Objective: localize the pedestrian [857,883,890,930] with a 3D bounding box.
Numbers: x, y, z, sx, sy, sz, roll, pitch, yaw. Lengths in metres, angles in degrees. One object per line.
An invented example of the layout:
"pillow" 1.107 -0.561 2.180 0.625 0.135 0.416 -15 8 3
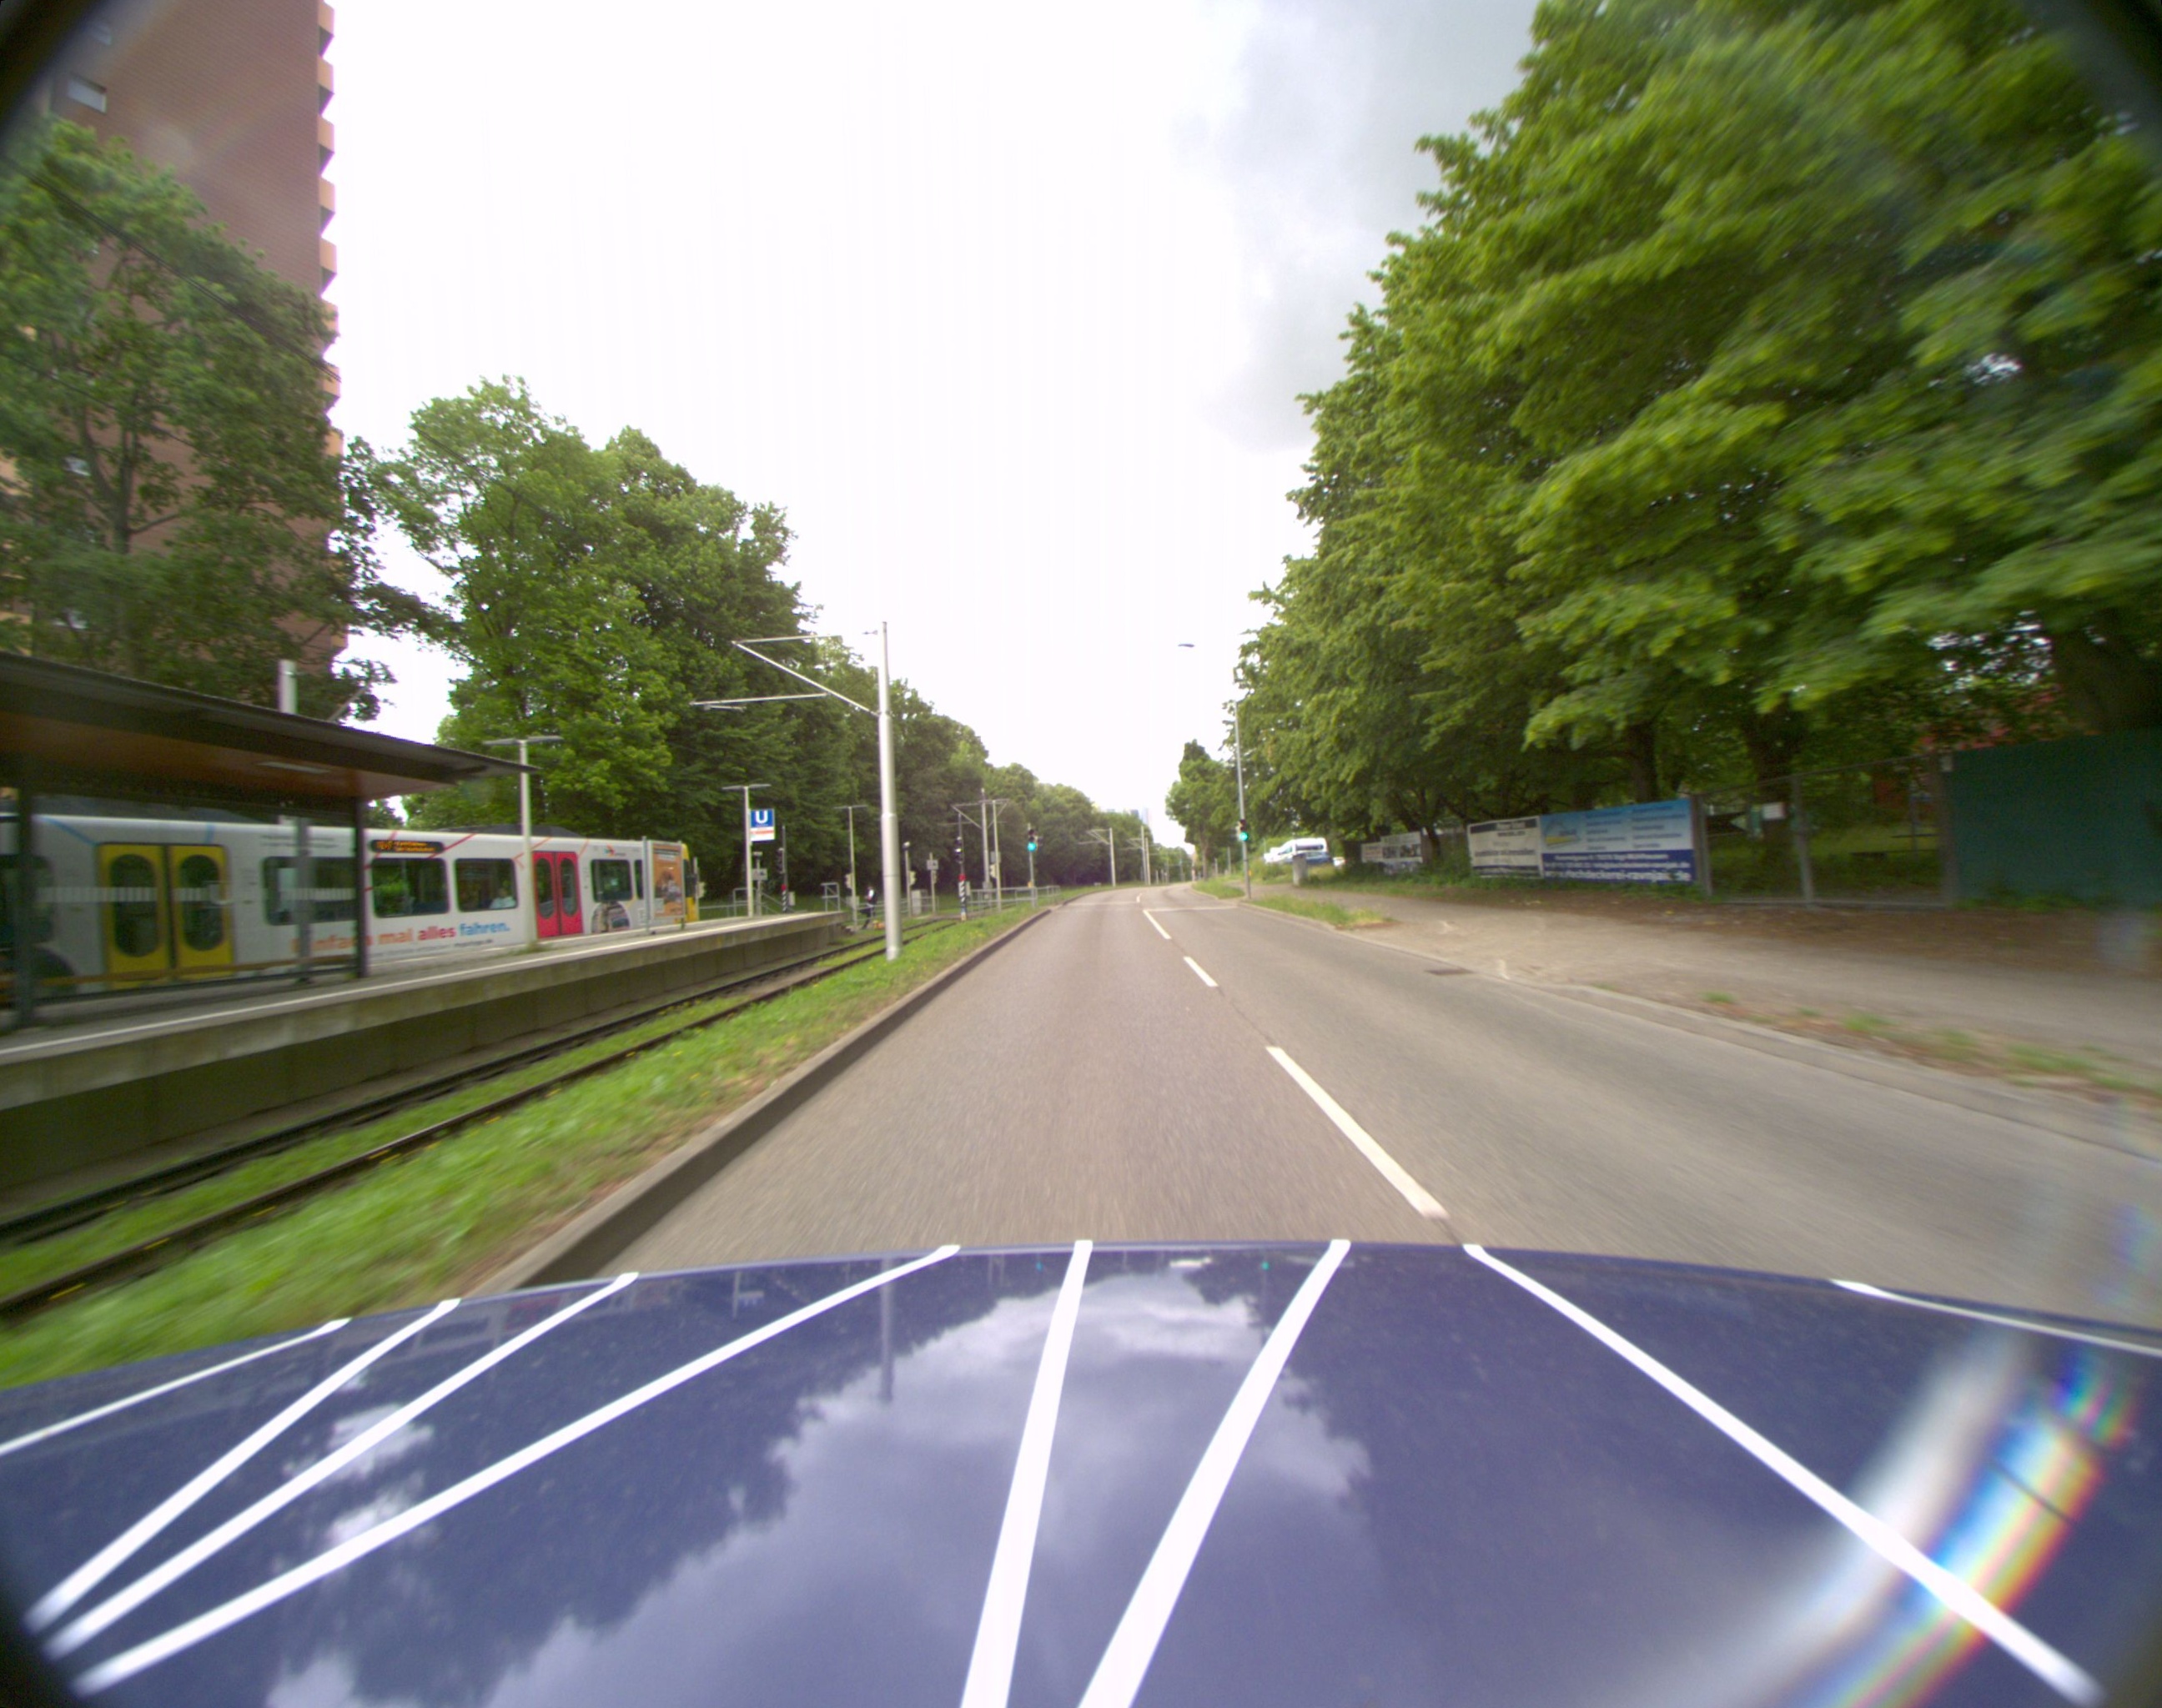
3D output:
"pedestrian" -8.130 2.052 29.804 0.986 1.747 0.729 -4 -1 -5

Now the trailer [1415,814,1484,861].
"trailer" 27.048 -1.115 56.086 2.653 3.055 7.202 -5 -1 11

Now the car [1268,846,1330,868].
"car" 16.649 0.278 58.266 4.385 1.308 1.565 -4 -2 11

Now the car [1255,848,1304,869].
"car" 17.462 0.393 66.915 4.040 1.538 2.003 -5 -2 15

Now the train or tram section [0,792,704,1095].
"train or tram section" -14.182 1.239 14.745 2.819 3.714 18.541 -4 -1 5

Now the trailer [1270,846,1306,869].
"trailer" 20.579 0.358 75.506 3.371 2.045 1.680 -4 -2 15

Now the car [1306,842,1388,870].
"car" 18.811 0.169 53.932 5.165 1.551 1.888 -4 -2 11

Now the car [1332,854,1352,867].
"car" 31.743 0.798 92.501 1.997 1.408 4.053 -5 -3 14

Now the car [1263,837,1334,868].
"car" 17.460 -0.092 61.275 5.165 2.093 2.217 -4 -2 11
